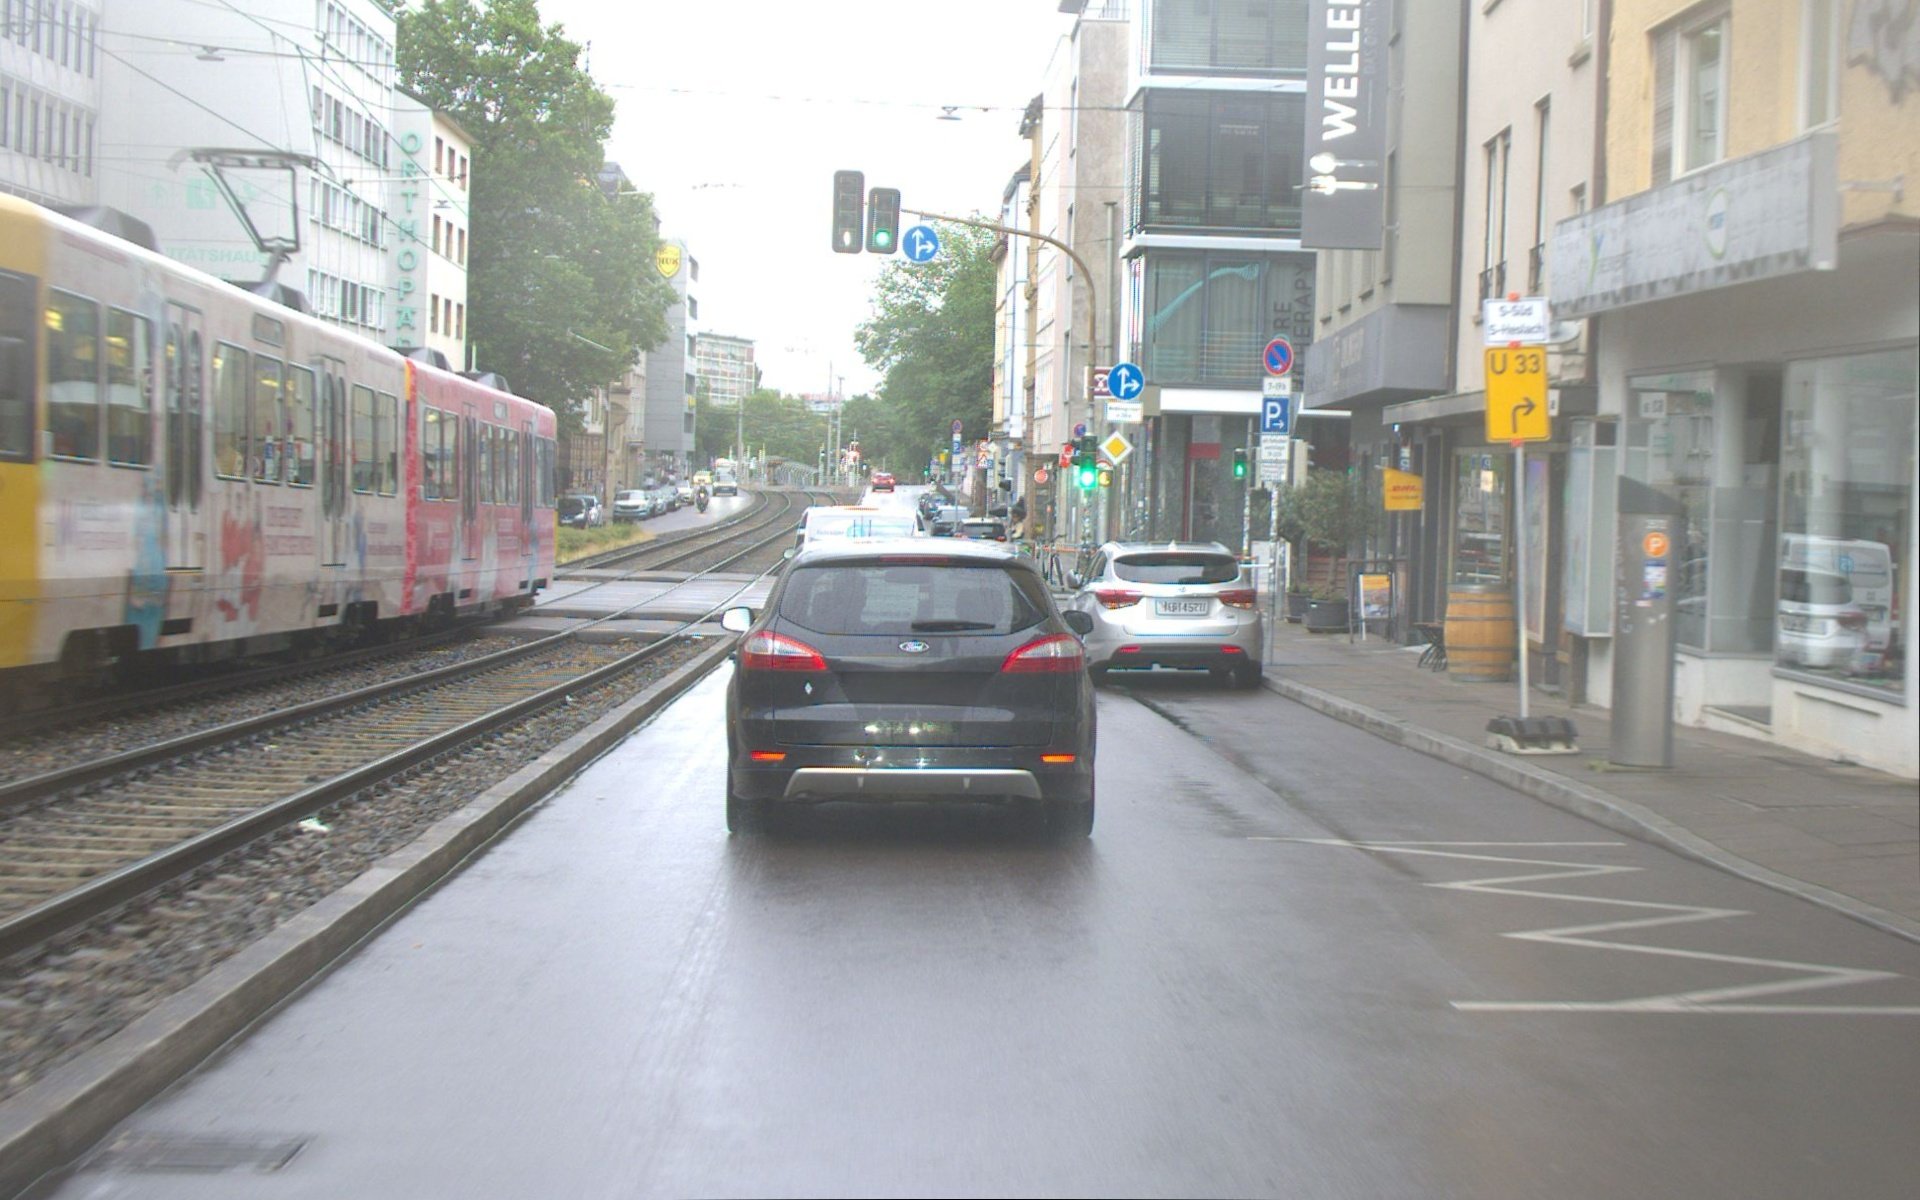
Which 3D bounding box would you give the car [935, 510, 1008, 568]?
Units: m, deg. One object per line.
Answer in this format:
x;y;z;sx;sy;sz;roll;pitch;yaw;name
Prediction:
0.297;-1.737;98.275;1.993;1.588;4.272;1;1;-1;car

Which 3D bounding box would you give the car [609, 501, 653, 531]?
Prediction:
-17.611;-4.523;183.974;1.993;1.514;4.436;2;2;-1;car

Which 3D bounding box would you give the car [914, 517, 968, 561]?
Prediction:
-0.747;-2.309;129.934;1.993;1.588;4.572;1;1;-1;car

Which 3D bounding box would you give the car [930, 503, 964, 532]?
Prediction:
-0.728;-4.642;193.106;1.738;1.484;4.001;2;2;-2;car

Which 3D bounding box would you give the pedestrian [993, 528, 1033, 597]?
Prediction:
1.229;-0.872;80.072;0.659;1.577;0.780;0;1;-23;pedestrian

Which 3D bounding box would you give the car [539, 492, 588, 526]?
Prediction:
-17.494;-4.019;151.829;1.744;1.463;4.220;0;2;-1;car

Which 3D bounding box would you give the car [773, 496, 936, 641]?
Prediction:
-1.353;-0.440;45.825;1.993;1.810;4.271;1;1;0;car

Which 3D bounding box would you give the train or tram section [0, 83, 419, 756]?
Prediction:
-7.406;-1.216;29.791;2.902;4.036;18.413;1;1;-1;train or tram section

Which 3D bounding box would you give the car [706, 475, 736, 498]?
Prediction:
-17.924;-8.488;257.929;1.993;1.514;4.444;2;0;-1;car

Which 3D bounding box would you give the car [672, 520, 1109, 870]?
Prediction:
-0.347;0.401;18.004;1.993;1.588;4.272;1;1;-1;car

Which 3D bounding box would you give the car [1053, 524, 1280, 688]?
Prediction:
2.100;0.016;36.205;2.024;1.588;4.621;1;1;-1;car

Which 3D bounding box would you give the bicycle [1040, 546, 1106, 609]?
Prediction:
2.384;-0.476;72.622;0.497;1.254;1.957;1;1;-26;bicycle

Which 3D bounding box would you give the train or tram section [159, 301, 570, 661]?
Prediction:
-7.810;-1.464;48.365;2.902;4.036;18.769;1;1;-1;train or tram section
